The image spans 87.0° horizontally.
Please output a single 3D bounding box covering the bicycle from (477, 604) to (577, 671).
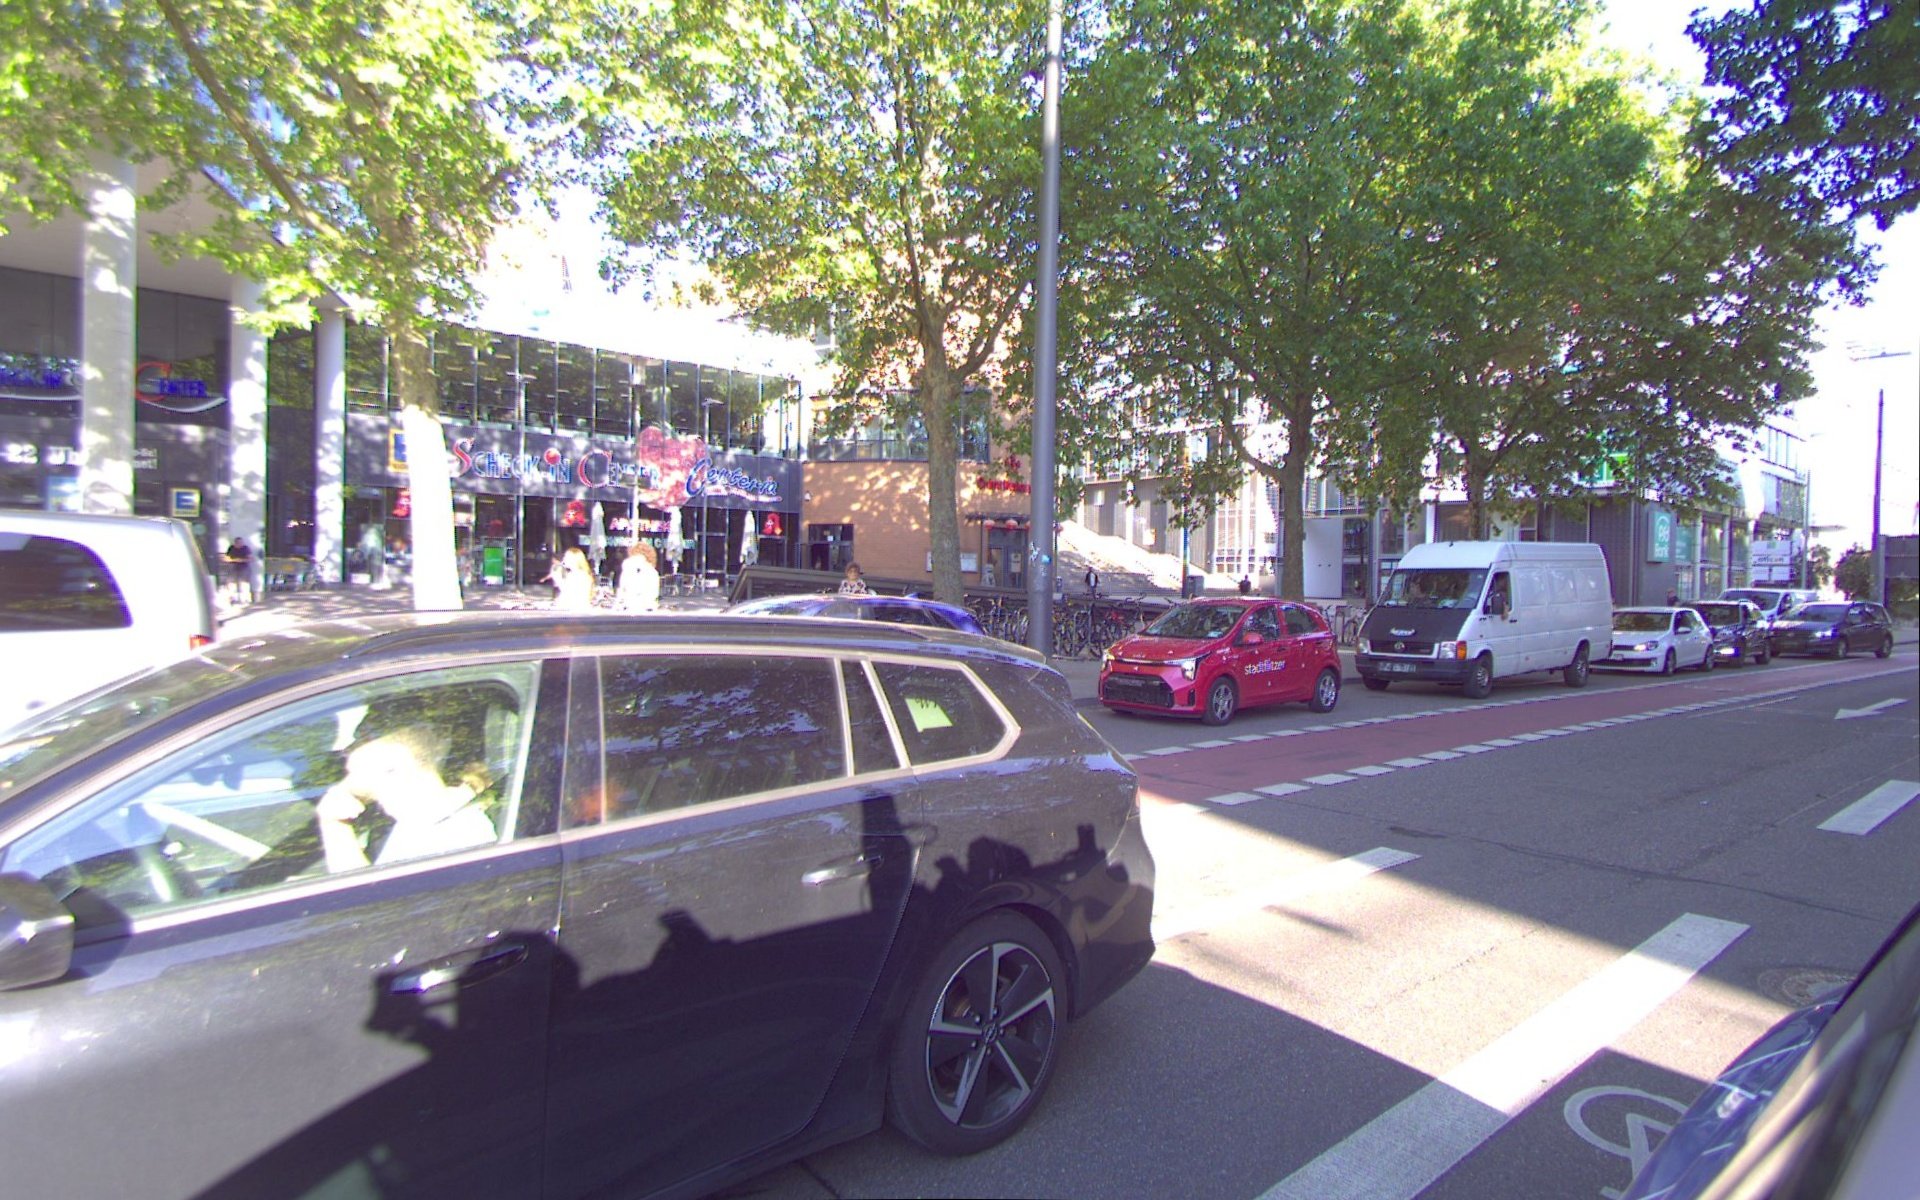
[{"bbox_3d":[-6.236,0.520,14.599,1.231,0.898,0.462,0,1,-40],"label":"bicycle"}]

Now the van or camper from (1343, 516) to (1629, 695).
[{"bbox_3d":[9.292,0.068,17.528,6.456,2.611,1.998,0,0,-39],"label":"van or camper"}]

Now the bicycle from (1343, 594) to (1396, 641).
[{"bbox_3d":[11.035,0.452,27.235,1.818,1.209,0.521,0,2,-41],"label":"bicycle"}]

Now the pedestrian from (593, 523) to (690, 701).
[{"bbox_3d":[-3.500,0.121,11.131,0.800,1.868,0.642,1,1,-42],"label":"pedestrian"}]

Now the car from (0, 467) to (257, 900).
[{"bbox_3d":[-6.211,0.358,4.402,5.008,2.004,1.940,0,2,-41],"label":"car"}]

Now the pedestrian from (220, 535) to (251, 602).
[{"bbox_3d":[-18.766,-0.802,26.216,0.506,1.707,0.604,1,1,-23],"label":"pedestrian"}]

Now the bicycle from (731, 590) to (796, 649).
[{"bbox_3d":[-3.885,0.374,20.051,1.202,1.110,0.429,0,1,-40],"label":"bicycle"}]

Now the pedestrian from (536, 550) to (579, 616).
[{"bbox_3d":[-10.865,-0.466,27.333,0.799,1.728,0.710,2,1,30],"label":"pedestrian"}]

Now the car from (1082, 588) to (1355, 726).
[{"bbox_3d":[3.349,0.611,12.821,3.588,1.476,1.605,0,1,-41],"label":"car"}]

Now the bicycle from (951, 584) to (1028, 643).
[{"bbox_3d":[0.639,0.273,21.704,1.818,1.209,0.434,0,1,-41],"label":"bicycle"}]

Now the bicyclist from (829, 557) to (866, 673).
[{"bbox_3d":[-1.751,0.225,15.764,0.392,1.782,0.390,0,1,-41],"label":"bicyclist"}]

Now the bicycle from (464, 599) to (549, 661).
[{"bbox_3d":[-7.118,0.465,15.923,1.198,0.938,0.465,1,1,-22],"label":"bicycle"}]

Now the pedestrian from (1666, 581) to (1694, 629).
[{"bbox_3d":[27.506,0.173,38.648,0.516,1.790,0.716,0,1,-39],"label":"pedestrian"}]

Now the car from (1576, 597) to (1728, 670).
[{"bbox_3d":[15.309,0.680,22.325,3.927,1.446,1.683,0,1,-38],"label":"car"}]

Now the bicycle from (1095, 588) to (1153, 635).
[{"bbox_3d":[4.392,0.307,27.069,1.759,1.209,0.517,0,2,-41],"label":"bicycle"}]

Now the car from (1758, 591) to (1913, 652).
[{"bbox_3d":[25.239,0.584,29.162,4.242,1.640,1.970,0,1,-28],"label":"car"}]

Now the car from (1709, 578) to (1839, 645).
[{"bbox_3d":[26.469,0.349,32.860,4.863,2.020,1.968,0,1,-35],"label":"car"}]

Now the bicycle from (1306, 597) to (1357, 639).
[{"bbox_3d":[10.311,0.483,28.047,1.766,1.108,0.522,0,2,-41],"label":"bicycle"}]

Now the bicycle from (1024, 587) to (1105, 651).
[{"bbox_3d":[2.113,0.365,20.262,1.818,1.209,0.484,0,2,-41],"label":"bicycle"}]

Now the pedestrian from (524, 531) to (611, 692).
[{"bbox_3d":[-4.593,0.121,11.836,0.751,1.799,0.648,1,1,-41],"label":"pedestrian"}]

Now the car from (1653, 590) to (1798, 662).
[{"bbox_3d":[19.243,0.595,25.392,4.148,1.640,1.819,0,1,-36],"label":"car"}]

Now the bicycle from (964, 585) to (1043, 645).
[{"bbox_3d":[0.937,0.299,21.351,1.818,1.209,0.458,0,1,-41],"label":"bicycle"}]

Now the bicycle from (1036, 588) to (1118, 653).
[{"bbox_3d":[2.301,0.390,19.753,1.818,1.209,0.448,0,1,-41],"label":"bicycle"}]

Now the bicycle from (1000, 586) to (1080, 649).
[{"bbox_3d":[1.631,0.341,20.523,1.818,1.209,0.447,0,1,-41],"label":"bicycle"}]

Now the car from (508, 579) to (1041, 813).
[{"bbox_3d":[-1.396,0.611,8.642,4.177,1.503,1.742,0,2,-41],"label":"car"}]

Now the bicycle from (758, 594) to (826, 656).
[{"bbox_3d":[-3.119,0.446,18.834,1.202,1.110,0.427,0,1,-40],"label":"bicycle"}]

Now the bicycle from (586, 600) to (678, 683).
[{"bbox_3d":[-4.578,0.566,14.183,1.202,1.110,0.269,0,1,-40],"label":"bicycle"}]

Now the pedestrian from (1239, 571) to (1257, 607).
[{"bbox_3d":[13.048,-0.512,45.824,0.707,1.578,0.638,1,1,14],"label":"pedestrian"}]

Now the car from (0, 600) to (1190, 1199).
[{"bbox_3d":[-1.420,0.726,2.471,4.196,1.432,1.742,0,0,-41],"label":"car"}]

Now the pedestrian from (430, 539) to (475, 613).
[{"bbox_3d":[-12.620,-0.606,25.184,0.869,1.805,0.604,1,1,-11],"label":"pedestrian"}]

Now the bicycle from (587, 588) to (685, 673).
[{"bbox_3d":[-4.433,0.401,13.886,1.202,1.110,0.413,0,1,-40],"label":"bicycle"}]

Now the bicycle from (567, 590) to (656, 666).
[{"bbox_3d":[-5.357,0.408,15.591,0.372,1.110,1.269,2,1,41],"label":"bicycle"}]

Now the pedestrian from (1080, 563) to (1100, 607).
[{"bbox_3d":[6.222,-0.729,48.403,0.861,2.062,0.585,1,1,6],"label":"pedestrian"}]

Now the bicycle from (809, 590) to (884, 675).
[{"bbox_3d":[-1.756,0.485,15.756,1.126,1.271,0.379,0,1,-41],"label":"bicycle"}]

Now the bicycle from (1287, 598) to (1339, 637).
[{"bbox_3d":[9.928,0.480,28.457,1.818,1.046,0.515,0,2,-41],"label":"bicycle"}]

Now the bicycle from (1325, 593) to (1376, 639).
[{"bbox_3d":[10.668,0.424,27.634,1.818,1.209,0.495,0,2,-41],"label":"bicycle"}]

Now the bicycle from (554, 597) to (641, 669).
[{"bbox_3d":[-5.839,0.509,16.334,0.414,1.110,1.269,2,1,41],"label":"bicycle"}]

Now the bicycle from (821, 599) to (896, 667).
[{"bbox_3d":[-1.703,0.539,17.060,1.202,1.110,0.420,0,1,-40],"label":"bicycle"}]

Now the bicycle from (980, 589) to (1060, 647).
[{"bbox_3d":[1.258,0.354,20.971,1.818,1.139,0.484,0,2,-41],"label":"bicycle"}]

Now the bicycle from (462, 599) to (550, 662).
[{"bbox_3d":[-6.956,0.455,15.545,1.198,0.930,0.442,1,1,-22],"label":"bicycle"}]

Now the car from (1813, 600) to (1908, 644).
[{"bbox_3d":[31.555,0.740,35.453,3.927,1.394,1.802,0,2,-38],"label":"car"}]

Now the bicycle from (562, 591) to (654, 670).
[{"bbox_3d":[-5.155,0.426,14.842,1.202,1.110,0.396,0,1,-40],"label":"bicycle"}]

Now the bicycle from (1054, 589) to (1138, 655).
[{"bbox_3d":[2.623,0.401,19.367,1.818,1.209,0.481,0,2,-41],"label":"bicycle"}]

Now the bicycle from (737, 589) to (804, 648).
[{"bbox_3d":[-3.640,0.345,19.508,1.202,1.110,0.444,0,1,-40],"label":"bicycle"}]
